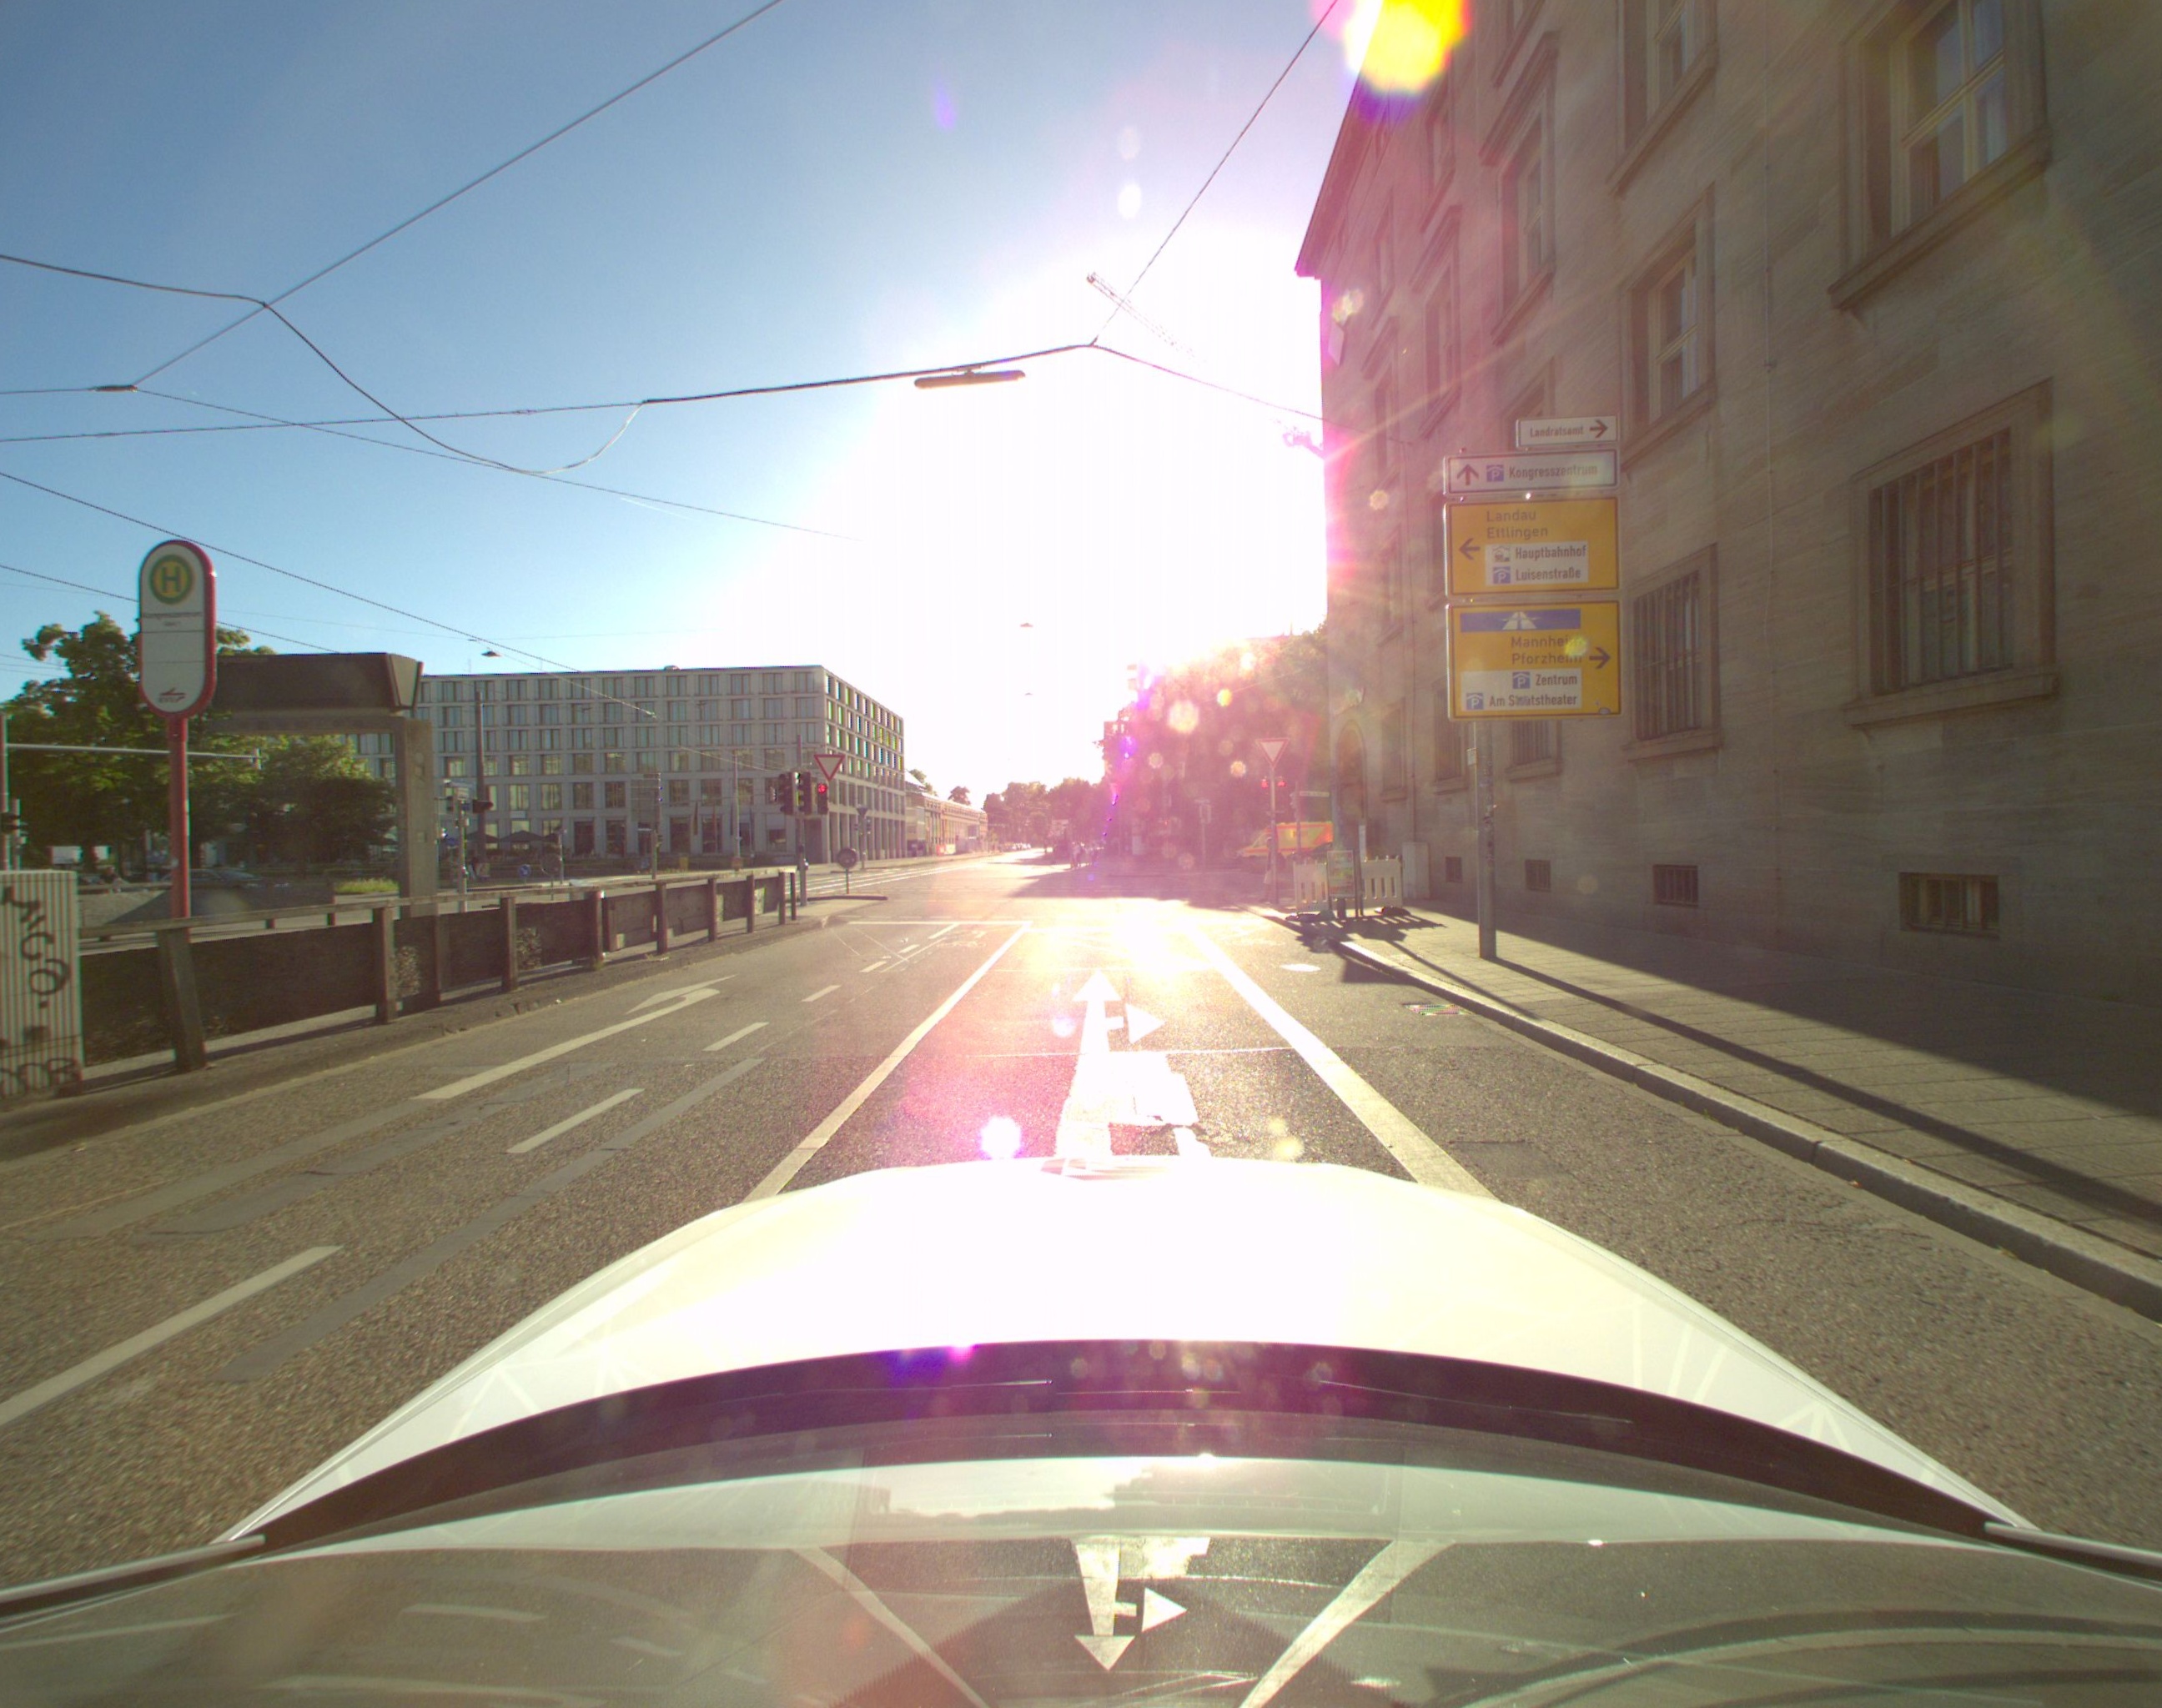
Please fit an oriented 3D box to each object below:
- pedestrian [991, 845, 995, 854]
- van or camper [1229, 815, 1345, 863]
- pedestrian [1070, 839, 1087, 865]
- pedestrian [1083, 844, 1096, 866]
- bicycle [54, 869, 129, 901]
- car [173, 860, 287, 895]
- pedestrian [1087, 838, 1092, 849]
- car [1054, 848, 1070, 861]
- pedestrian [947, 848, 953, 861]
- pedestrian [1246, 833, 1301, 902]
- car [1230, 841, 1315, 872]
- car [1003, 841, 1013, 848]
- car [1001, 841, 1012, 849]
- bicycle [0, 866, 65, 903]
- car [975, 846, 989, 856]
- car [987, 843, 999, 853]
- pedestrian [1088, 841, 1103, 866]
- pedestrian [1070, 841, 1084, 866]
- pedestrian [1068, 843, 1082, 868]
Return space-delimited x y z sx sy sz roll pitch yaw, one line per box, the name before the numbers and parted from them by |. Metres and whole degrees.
pedestrian | -13.805 -0.741 128.224 0.522 1.484 0.437 0 -1 0
van or camper | 12.626 -0.927 50.422 6.674 2.861 2.915 0 -1 6
pedestrian | -0.155 -0.123 57.069 0.967 1.784 0.776 -2 0 -15
pedestrian | 0.625 0.060 59.099 0.763 1.558 0.585 -2 0 -15
bicycle | -37.180 1.164 30.607 1.915 1.122 0.791 -2 0 3
car | -38.898 1.042 37.271 3.520 1.506 1.522 -1 0 -1
pedestrian | 2.613 -3.251 258.265 1.396 3.597 1.568 0 -1 1
car | -2.160 0.086 94.894 1.678 1.501 3.510 0 -1 2
pedestrian | -13.255 0.085 82.587 0.509 1.329 0.369 -1 0 3
pedestrian | 4.992 0.328 21.190 1.039 1.721 1.032 -2 0 -10
car | 10.466 0.139 44.799 4.298 1.647 1.889 0 -1 2
car | -15.456 -2.005 172.564 1.604 1.498 3.807 -2 0 2
car | -15.422 -1.887 168.613 1.813 1.712 3.807 -2 0 2
bicycle | -39.333 1.136 30.320 2.037 1.288 0.888 -2 0 6
car | -17.749 -0.542 145.995 1.813 1.712 3.807 -2 0 2
car | -16.884 -1.145 156.902 1.813 1.712 3.807 -2 0 2
pedestrian | 1.062 -0.030 58.275 0.849 1.784 0.776 -2 0 -15
pedestrian | -0.296 -0.061 58.853 0.849 1.784 0.776 -2 0 -15
pedestrian | -0.430 0.133 59.677 0.849 1.784 0.776 -2 0 -15
